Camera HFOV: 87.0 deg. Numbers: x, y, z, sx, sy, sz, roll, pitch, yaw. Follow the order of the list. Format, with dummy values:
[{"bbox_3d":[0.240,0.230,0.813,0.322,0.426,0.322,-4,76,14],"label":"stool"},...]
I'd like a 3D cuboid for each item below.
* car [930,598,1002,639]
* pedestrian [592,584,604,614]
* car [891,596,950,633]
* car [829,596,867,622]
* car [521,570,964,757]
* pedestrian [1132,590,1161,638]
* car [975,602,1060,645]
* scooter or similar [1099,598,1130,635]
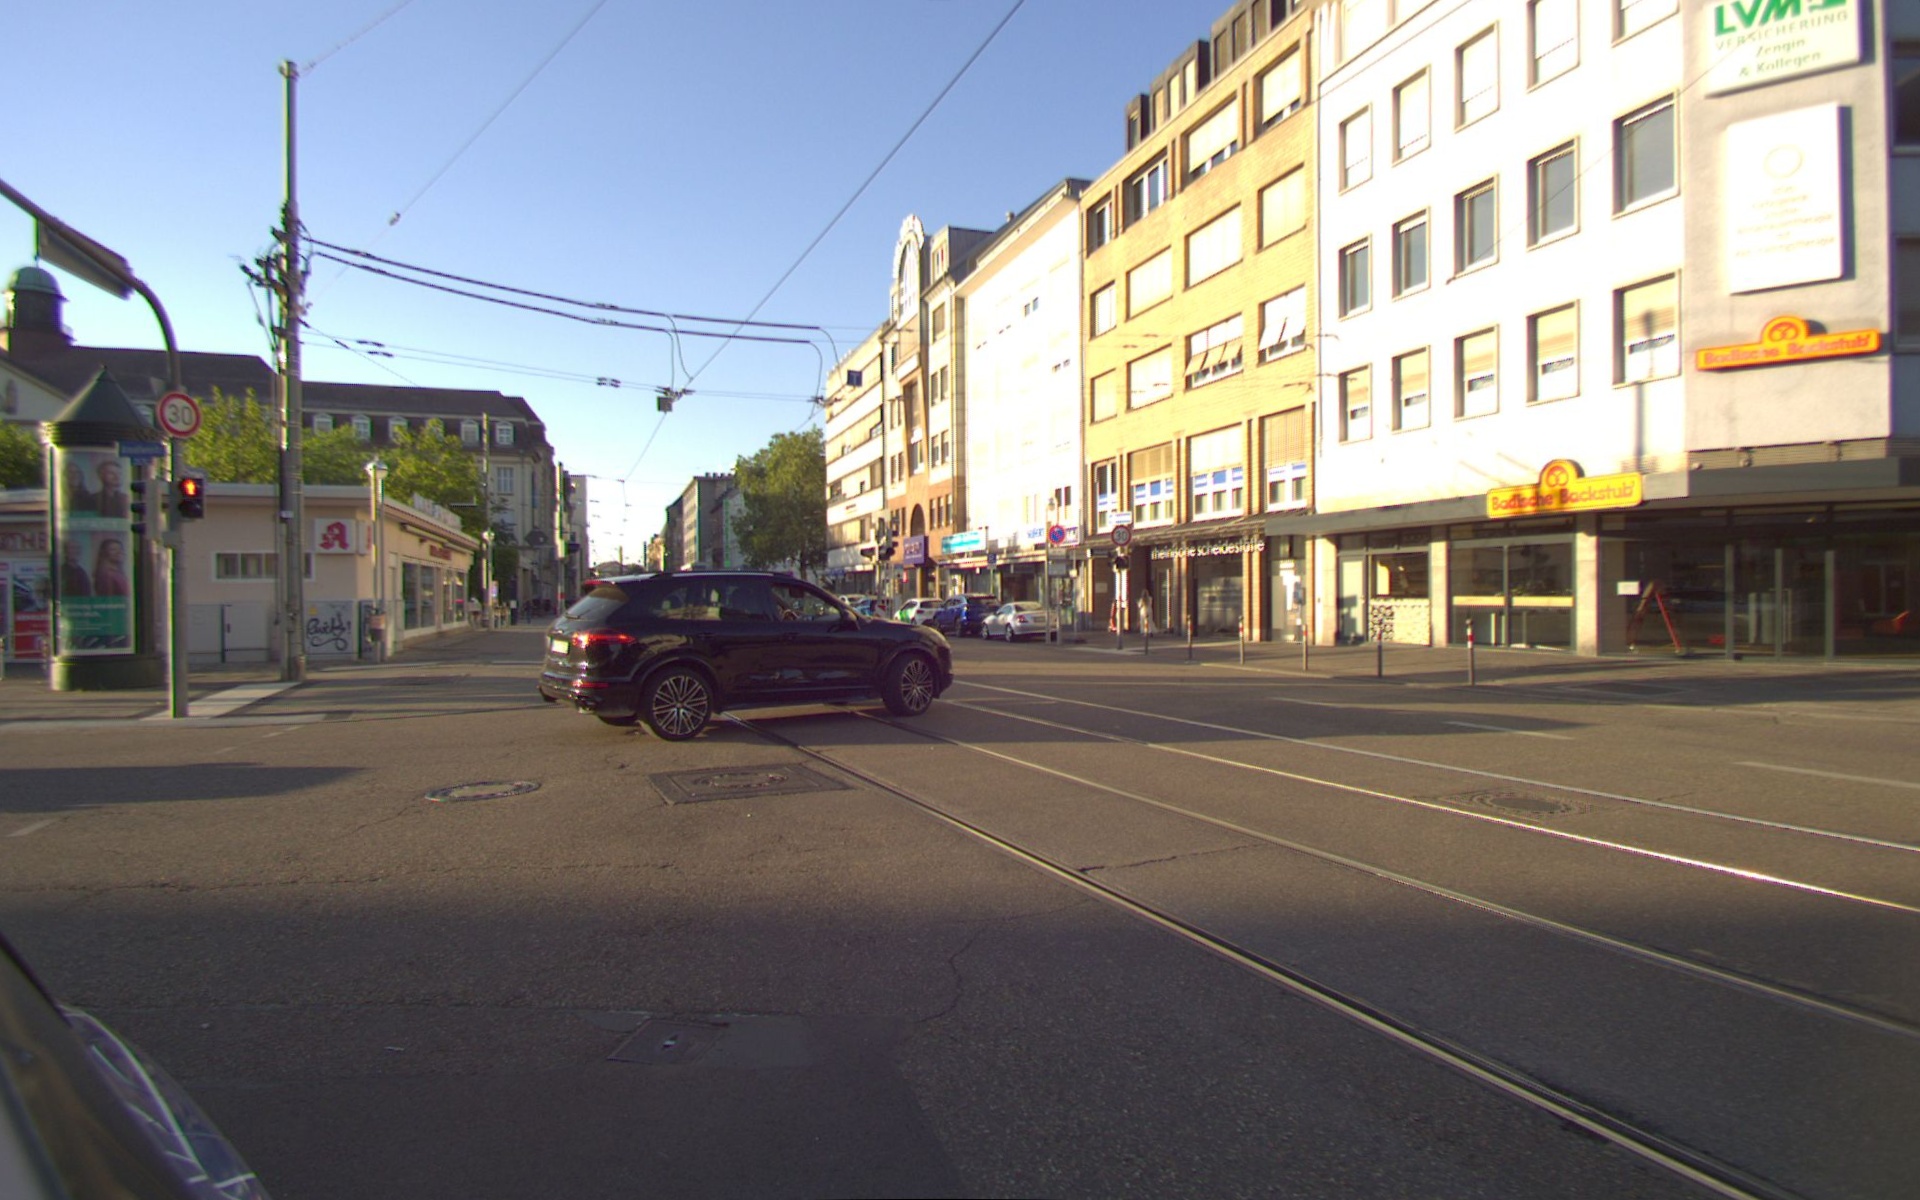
[{"bbox_3d":[0.169,0.681,38.085,1.609,1.364,3.399,-3,0,-19],"label":"car"},{"bbox_3d":[-25.032,-0.099,69.935,0.703,2.028,0.844,-1,3,-16],"label":"pedestrian"},{"bbox_3d":[-1.765,0.613,44.243,1.609,1.475,3.399,-3,0,-19],"label":"car"},{"bbox_3d":[-6.295,0.497,56.705,1.436,1.301,3.157,-3,0,-19],"label":"car"},{"bbox_3d":[-2.301,0.550,11.334,4.494,1.710,1.810,-1,0,-36],"label":"car"},{"bbox_3d":[5.944,0.453,32.221,0.535,1.483,0.626,-4,1,-35],"label":"pedestrian"},{"bbox_3d":[1.872,0.761,33.807,1.609,1.262,3.399,-3,0,-19],"label":"car"},{"bbox_3d":[5.363,0.561,35.185,0.389,1.268,1.471,-2,0,-18],"label":"scooter or similar"}]
